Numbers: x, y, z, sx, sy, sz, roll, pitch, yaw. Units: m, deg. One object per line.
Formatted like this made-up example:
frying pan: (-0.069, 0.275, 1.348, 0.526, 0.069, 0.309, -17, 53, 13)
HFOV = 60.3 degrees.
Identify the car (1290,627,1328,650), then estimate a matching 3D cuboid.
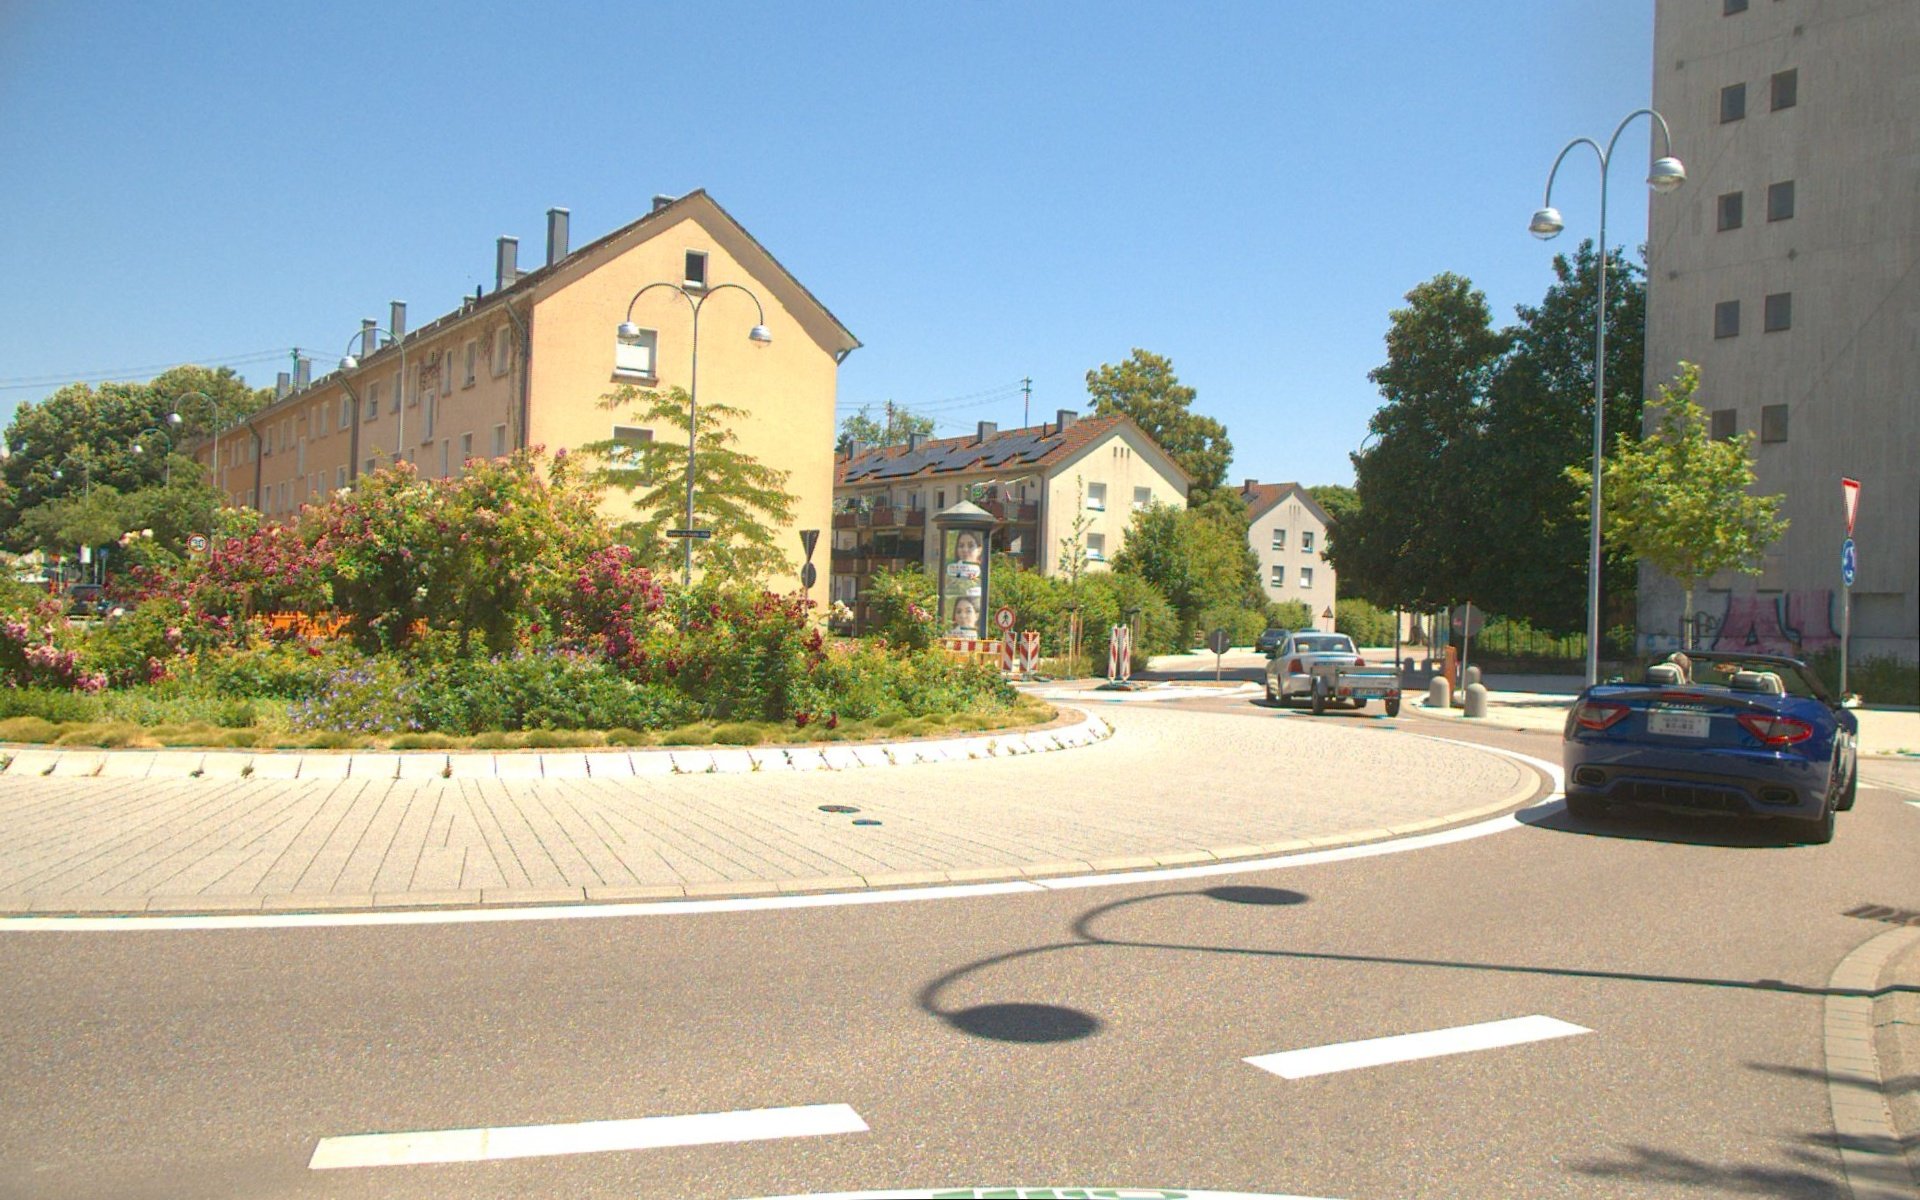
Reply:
car: (22.831, 2.499, 108.136, 1.704, 1.462, 3.708, 0, -1, 24)

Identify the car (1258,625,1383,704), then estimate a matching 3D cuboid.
car: (7.043, 1.223, 32.614, 1.703, 1.462, 3.710, 0, -1, 1)

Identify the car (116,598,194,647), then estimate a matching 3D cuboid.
car: (-27.792, 0.770, 57.026, 1.797, 1.526, 3.952, 4, -2, -34)

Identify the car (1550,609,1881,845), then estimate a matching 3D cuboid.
car: (6.331, 0.953, 13.546, 1.837, 1.557, 4.493, 1, -2, 33)

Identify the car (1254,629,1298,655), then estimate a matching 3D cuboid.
car: (18.446, 2.461, 96.507, 1.704, 1.462, 3.708, 0, -1, 24)

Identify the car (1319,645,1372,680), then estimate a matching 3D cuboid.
car: (17.290, 2.759, 74.065, 1.703, 1.462, 3.709, 0, -1, 24)

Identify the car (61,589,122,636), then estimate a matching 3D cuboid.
car: (-37.006, 0.524, 70.420, 1.797, 1.825, 3.952, 4, -2, -34)
